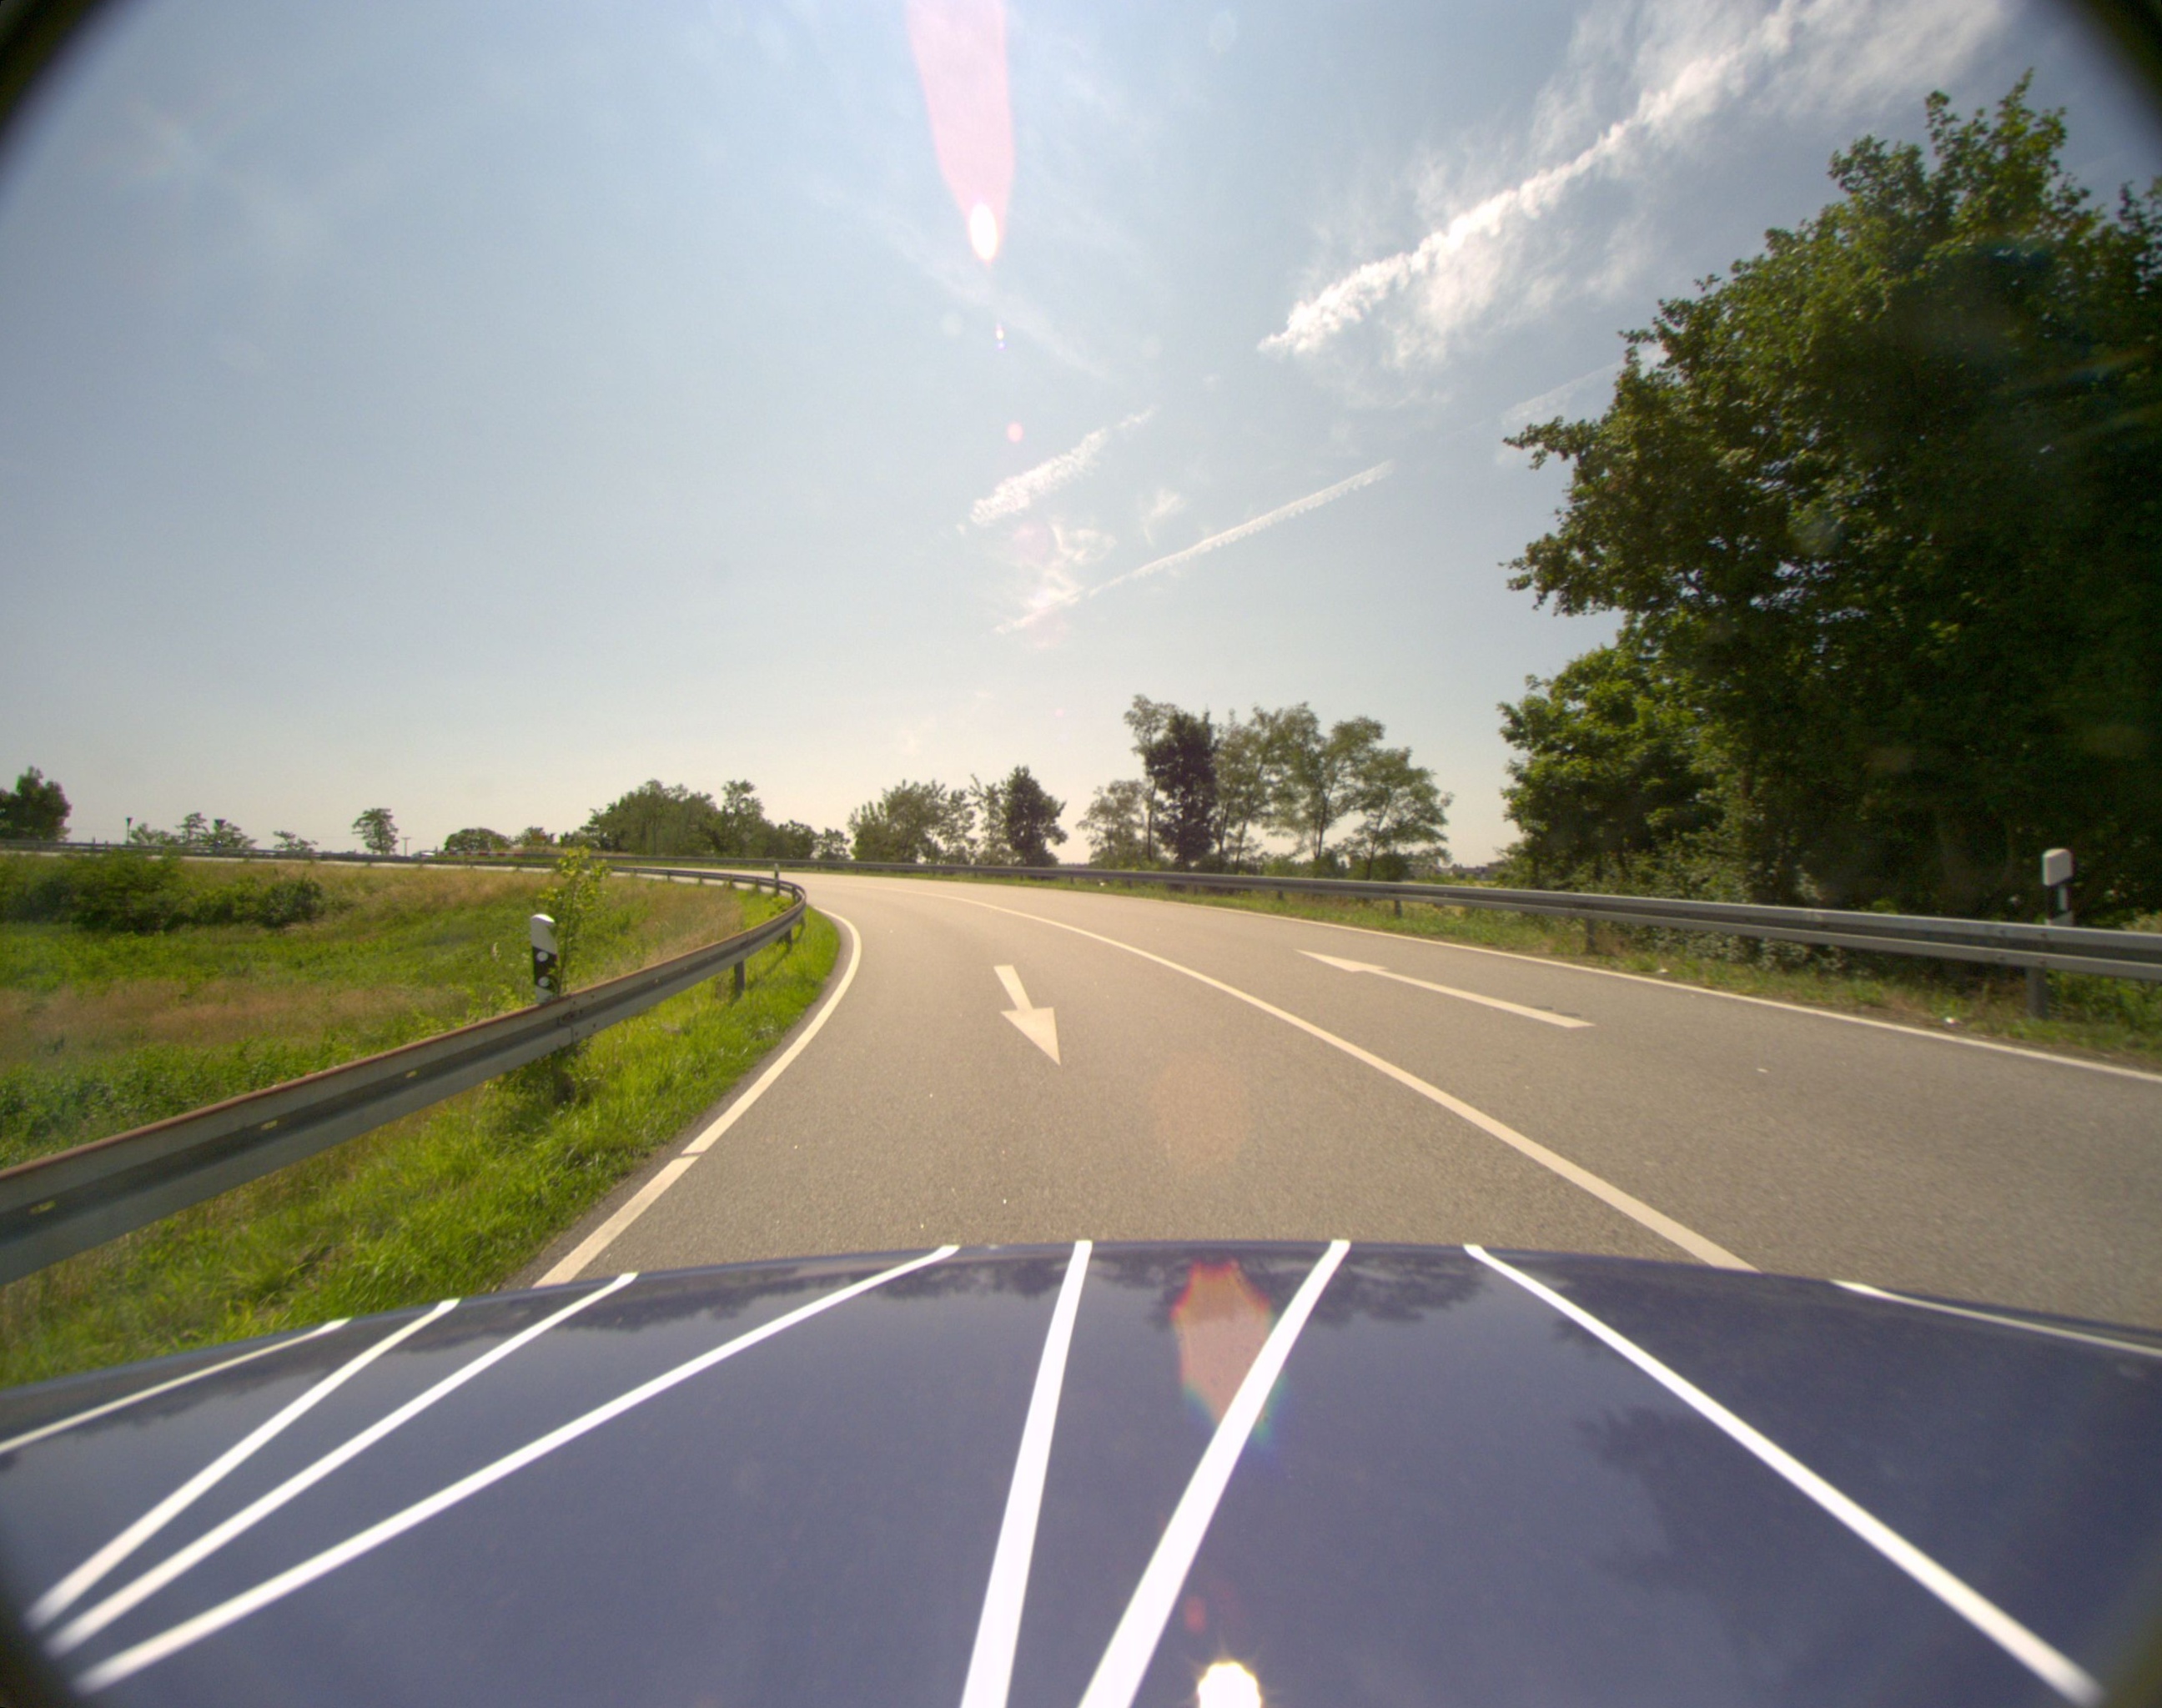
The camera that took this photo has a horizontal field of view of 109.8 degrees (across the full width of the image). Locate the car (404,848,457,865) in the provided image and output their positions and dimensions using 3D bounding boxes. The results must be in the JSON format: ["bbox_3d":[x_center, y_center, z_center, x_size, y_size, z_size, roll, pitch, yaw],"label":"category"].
[{"bbox_3d":[-66.041,0.284,77.213,1.813,1.406,4.112,-5,-3,-2],"label":"car"}]

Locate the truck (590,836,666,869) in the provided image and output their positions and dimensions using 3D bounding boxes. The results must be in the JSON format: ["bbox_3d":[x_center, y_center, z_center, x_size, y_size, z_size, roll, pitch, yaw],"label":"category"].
[{"bbox_3d":[-61.448,-0.044,103.401,2.818,3.645,9.963,-4,-4,11],"label":"truck"}]
